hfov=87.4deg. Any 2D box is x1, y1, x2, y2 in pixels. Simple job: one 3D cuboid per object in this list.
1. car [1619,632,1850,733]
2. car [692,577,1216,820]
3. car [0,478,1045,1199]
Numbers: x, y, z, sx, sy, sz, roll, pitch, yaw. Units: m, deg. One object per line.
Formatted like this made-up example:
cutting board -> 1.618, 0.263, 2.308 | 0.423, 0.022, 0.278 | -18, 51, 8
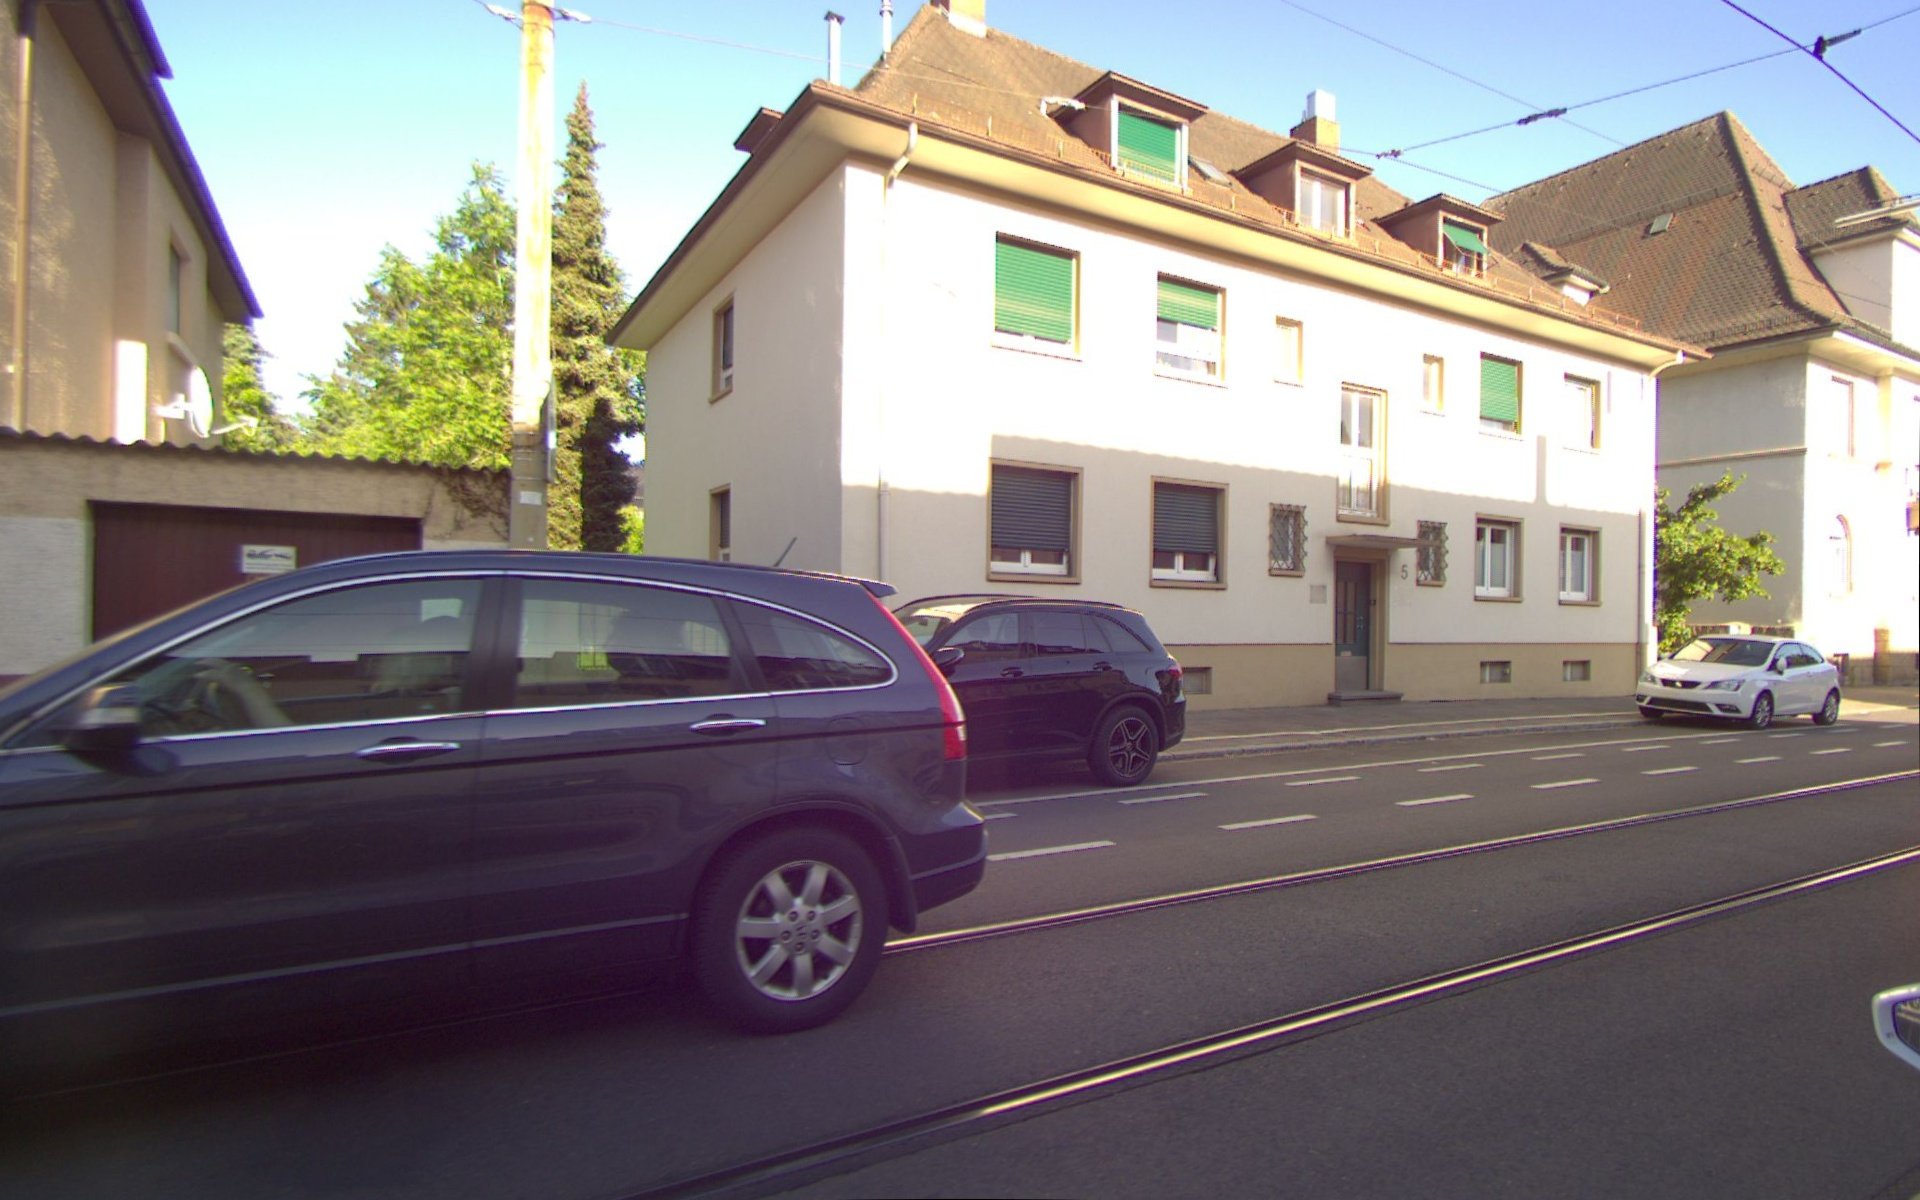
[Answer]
car -> 12.751, 1.289, 16.497 | 3.968, 1.476, 1.624 | 2, -2, -30
car -> 0.063, 0.782, 9.093 | 4.504, 1.727, 1.753 | 2, -2, -31
car -> -1.942, 0.616, 3.614 | 4.313, 1.727, 1.696 | 2, -2, -30
